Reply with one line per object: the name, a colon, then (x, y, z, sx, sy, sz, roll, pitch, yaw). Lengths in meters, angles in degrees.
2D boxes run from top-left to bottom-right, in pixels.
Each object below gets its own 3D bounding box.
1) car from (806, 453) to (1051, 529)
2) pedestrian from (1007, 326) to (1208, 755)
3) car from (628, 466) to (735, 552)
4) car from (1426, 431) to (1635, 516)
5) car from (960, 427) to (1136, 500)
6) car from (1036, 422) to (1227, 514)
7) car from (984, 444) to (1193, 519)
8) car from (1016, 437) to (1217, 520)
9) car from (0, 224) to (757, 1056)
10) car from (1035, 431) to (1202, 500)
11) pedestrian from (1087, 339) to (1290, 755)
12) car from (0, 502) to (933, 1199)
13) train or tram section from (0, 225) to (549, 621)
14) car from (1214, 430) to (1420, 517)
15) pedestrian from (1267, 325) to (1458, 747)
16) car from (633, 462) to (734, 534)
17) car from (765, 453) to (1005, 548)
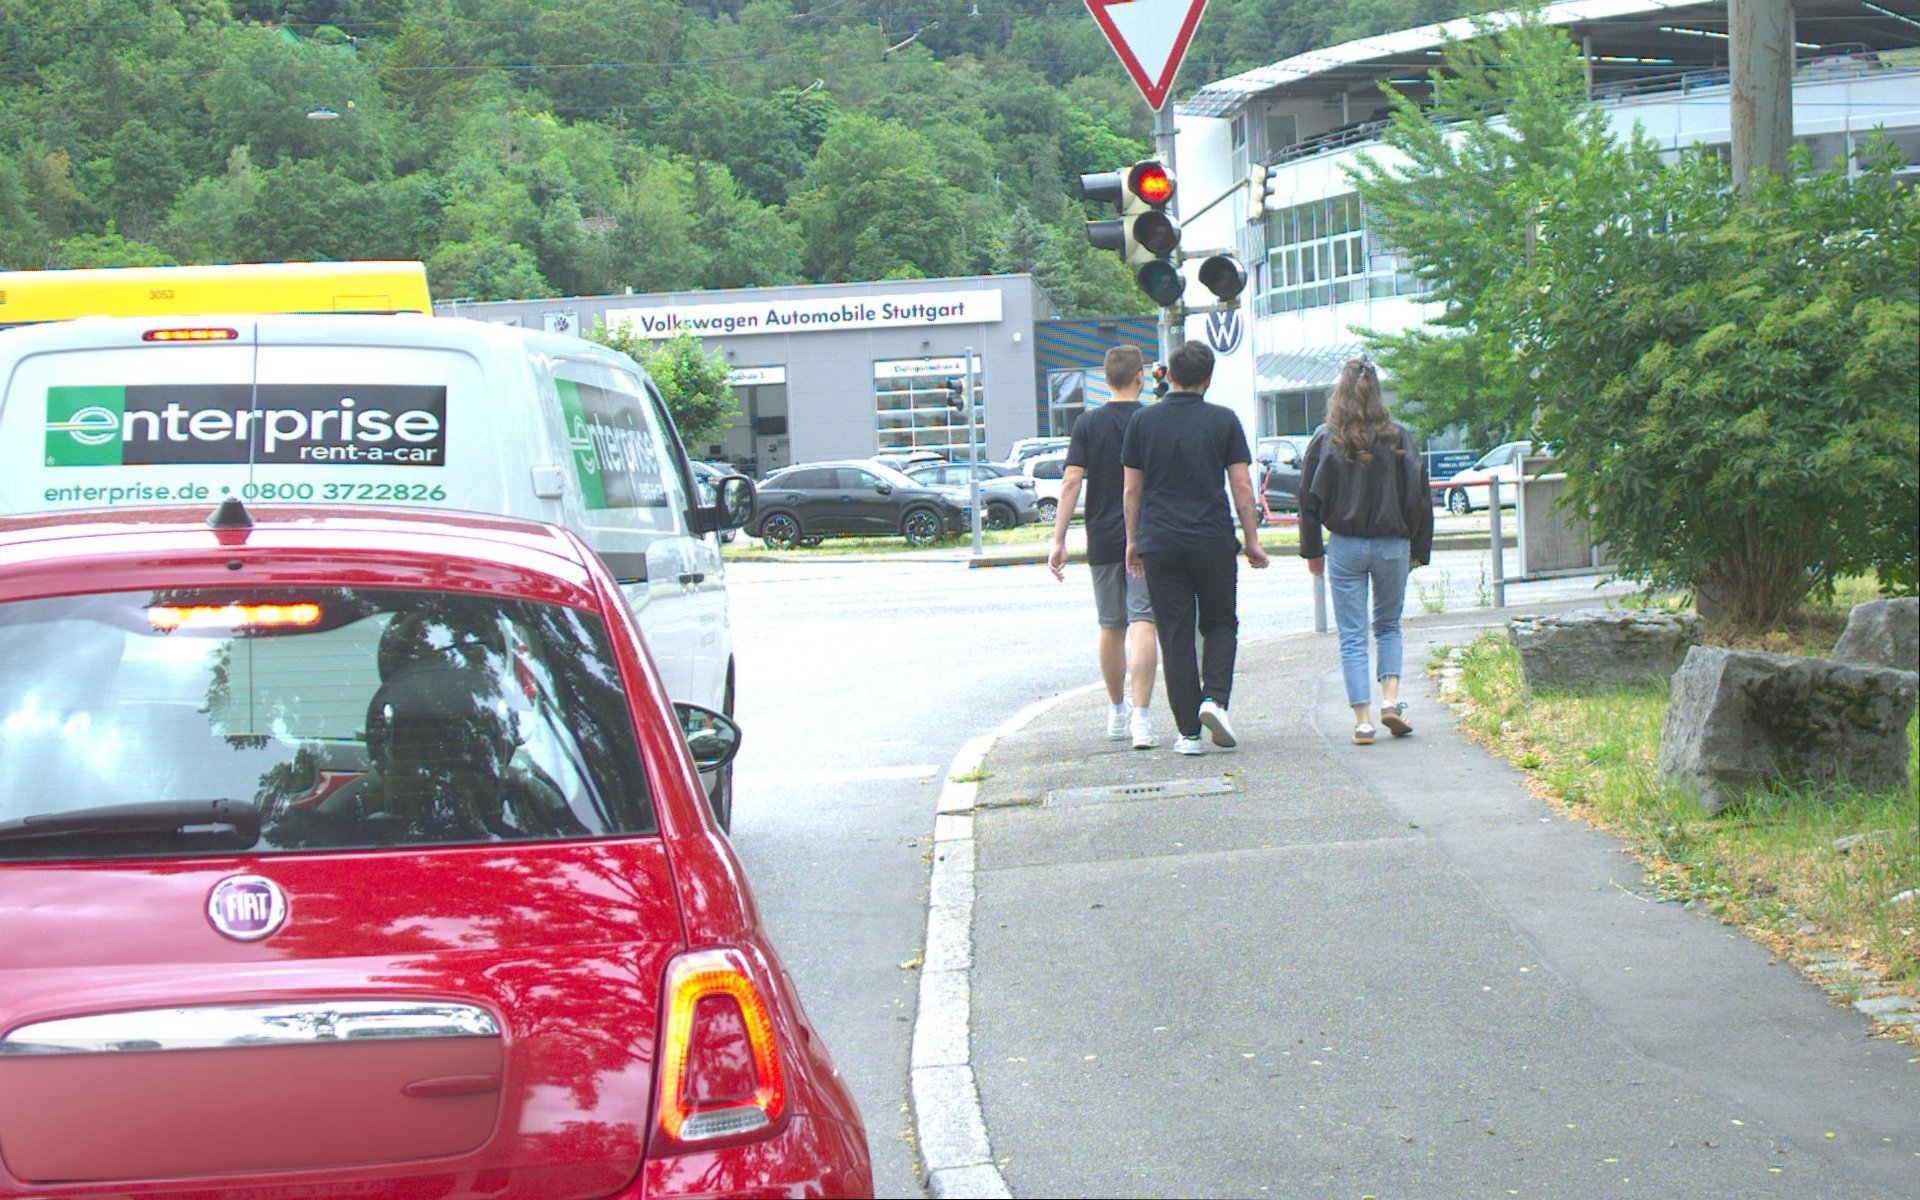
car: (-0.637, -2.233, 70.411, 4.674, 1.323, 1.775, -2, 2, 14)
pedestrian: (0.672, -0.273, 15.427, 0.693, 1.850, 0.788, -3, 2, 12)
car: (-6.353, -2.103, 78.836, 1.993, 1.809, 4.000, -3, 2, 1)
car: (11.046, -2.444, 66.850, 1.770, 1.495, 4.022, -4, 3, -31)
car: (2.481, -3.818, 96.203, 4.796, 1.796, 1.776, -2, 2, 3)
car: (4.437, -3.432, 89.128, 4.796, 2.149, 2.234, -2, 2, 3)
car: (3.034, -2.799, 81.069, 4.796, 1.528, 1.776, -2, 2, 3)
car: (3.831, -2.988, 84.325, 4.796, 1.796, 1.776, -2, 2, 3)
car: (-1.920, 0.025, 11.372, 1.989, 2.099, 4.762, -3, 2, 2)
car: (4.658, -3.972, 101.098, 4.796, 1.796, 1.776, -2, 2, 3)
pedestrian: (0.989, -0.234, 14.729, 0.693, 1.708, 0.788, -3, 2, 11)
car: (-1.174, 0.595, 5.540, 1.638, 1.451, 3.432, -2, 2, -11)
train or tram section: (-13.782, -1.434, 33.009, 19.107, 3.653, 3.279, -3, 2, -17)
car: (6.728, -2.375, 65.111, 1.770, 1.495, 3.881, -4, 3, -33)
pedestrian: (1.740, -0.281, 14.779, 0.693, 1.733, 0.788, -3, 2, 10)
car: (-6.313, -2.360, 78.825, 1.770, 1.528, 4.091, -2, 2, 2)
car: (-1.328, -1.782, 61.333, 3.871, 1.495, 1.774, -2, 2, 17)
